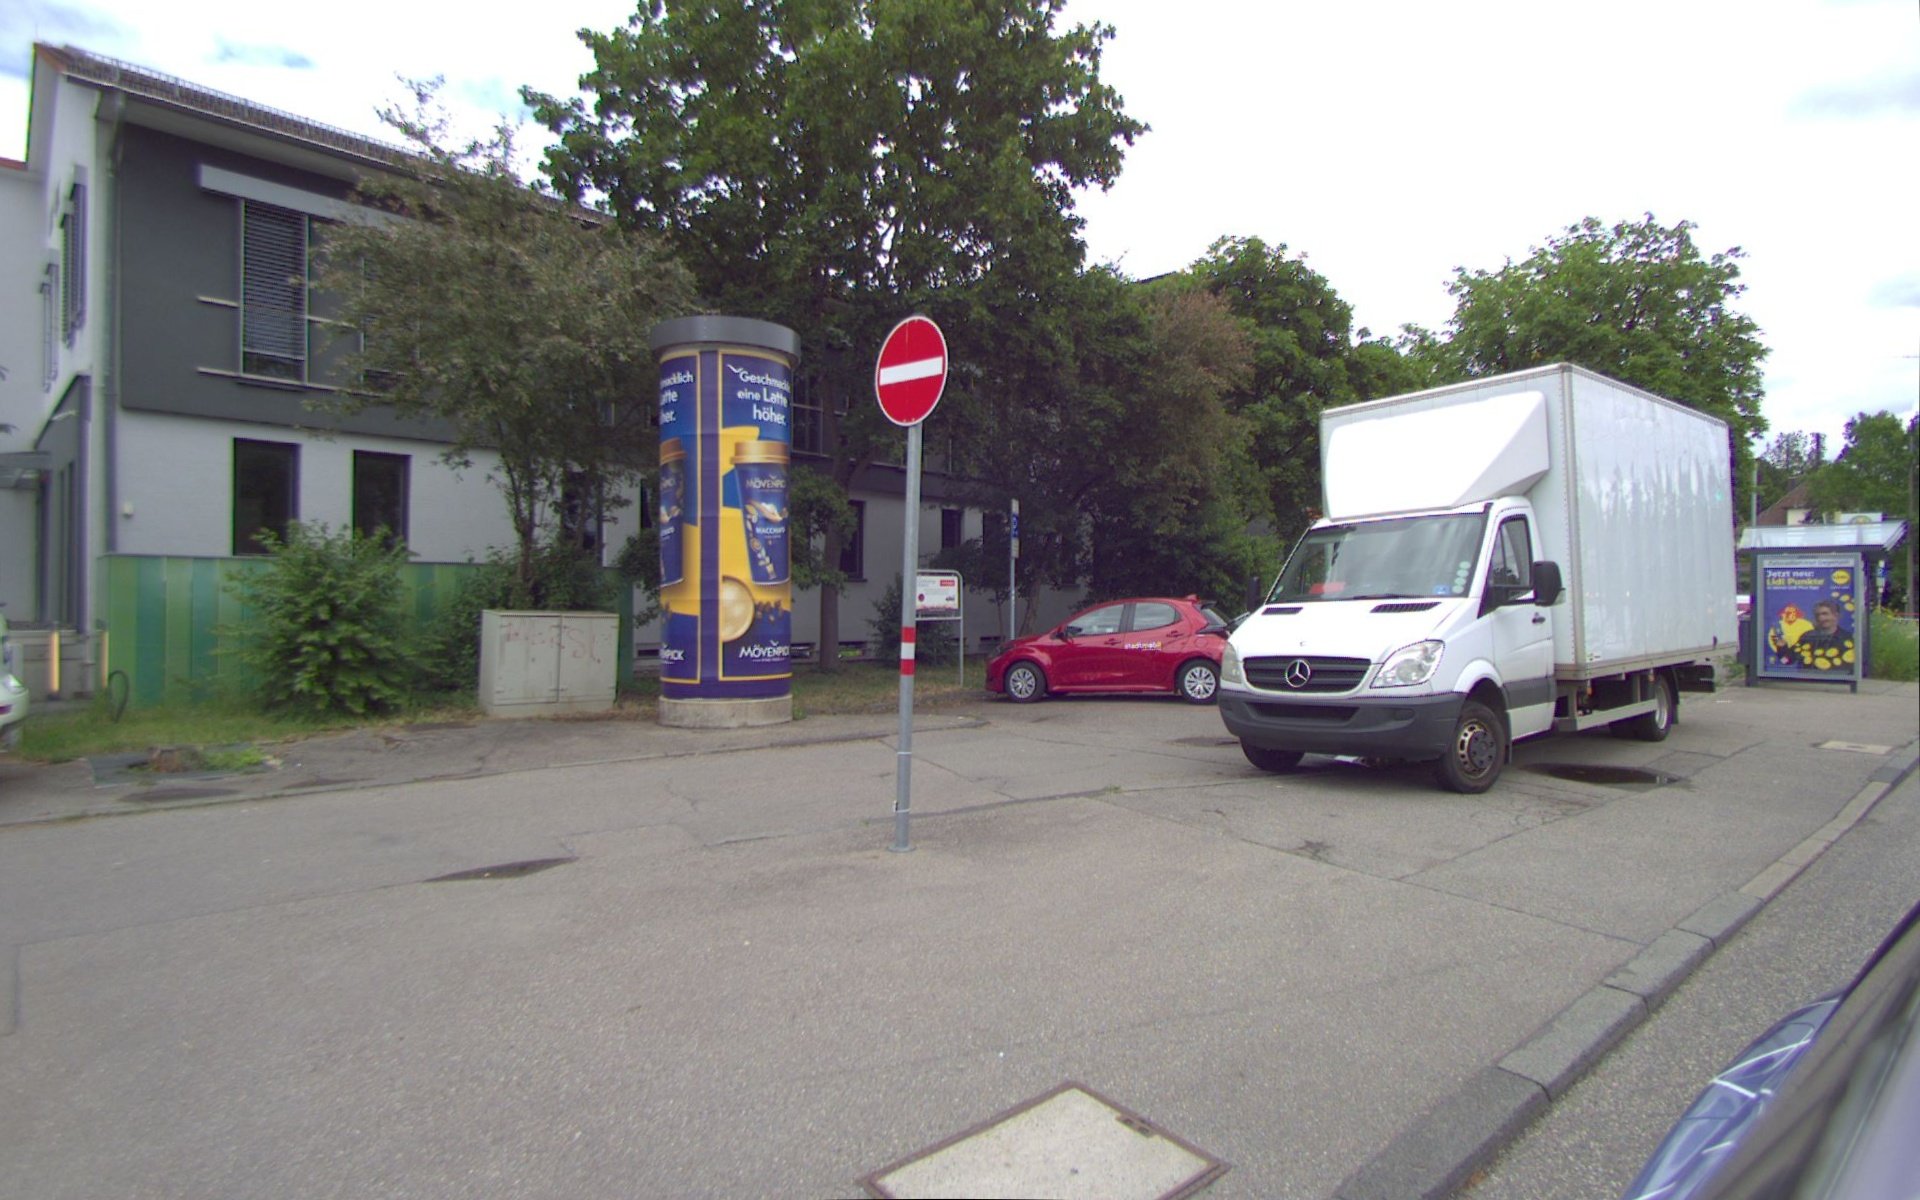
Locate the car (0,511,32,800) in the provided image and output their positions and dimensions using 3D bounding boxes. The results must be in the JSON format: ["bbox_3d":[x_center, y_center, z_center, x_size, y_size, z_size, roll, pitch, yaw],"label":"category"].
[{"bbox_3d":[-8.411,0.359,5.837,4.440,1.860,1.997,-1,2,-42],"label":"car"}]

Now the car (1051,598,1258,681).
[{"bbox_3d":[3.789,0.712,19.613,3.754,1.492,1.787,0,0,19],"label":"car"}]

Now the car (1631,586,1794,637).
[{"bbox_3d":[27.264,0.407,36.747,4.602,1.771,1.853,1,0,-3],"label":"car"}]

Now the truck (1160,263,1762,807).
[{"bbox_3d":[5.449,-0.435,10.113,7.672,3.570,2.578,0,0,-40],"label":"truck"}]

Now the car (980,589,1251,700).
[{"bbox_3d":[2.283,0.620,14.851,3.686,1.464,1.595,0,-1,23],"label":"car"}]
